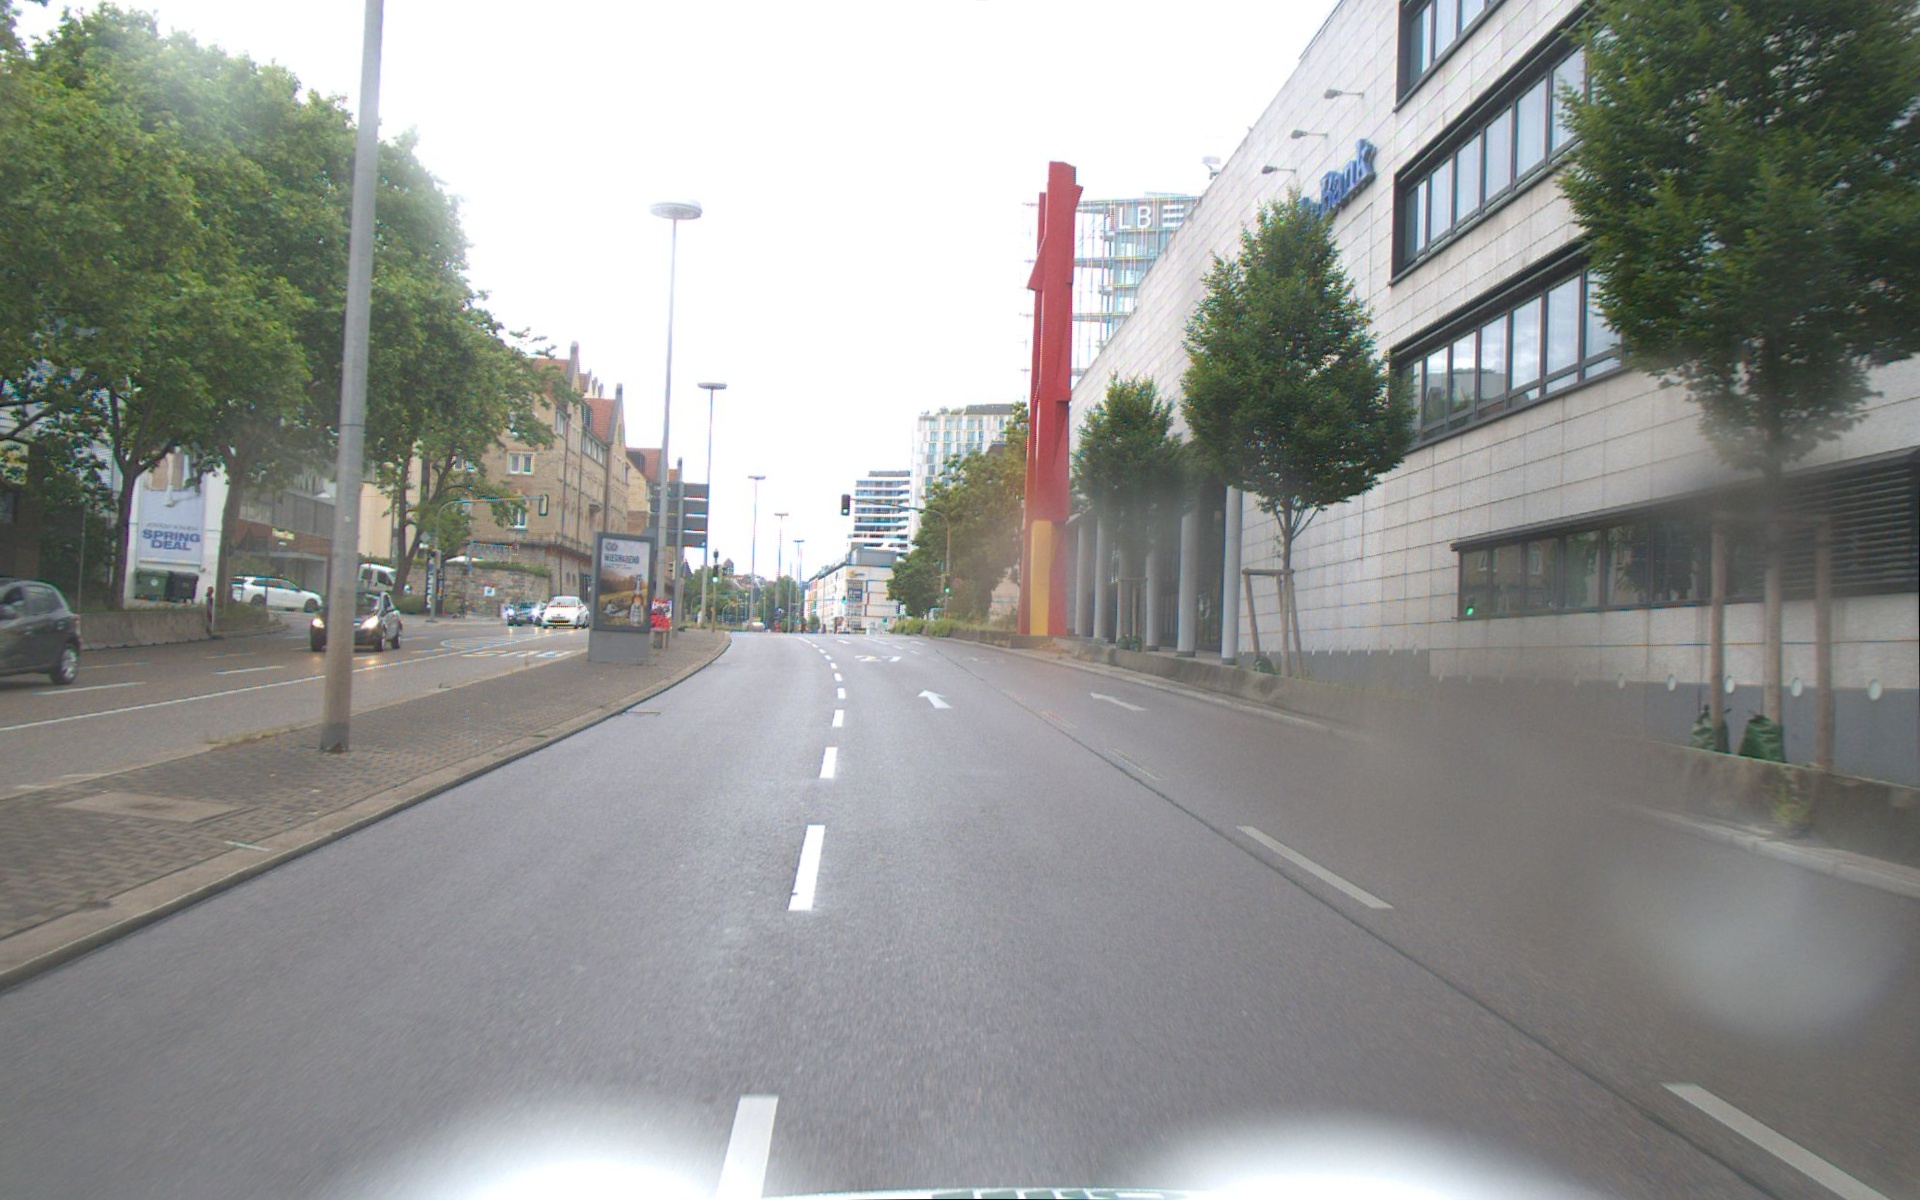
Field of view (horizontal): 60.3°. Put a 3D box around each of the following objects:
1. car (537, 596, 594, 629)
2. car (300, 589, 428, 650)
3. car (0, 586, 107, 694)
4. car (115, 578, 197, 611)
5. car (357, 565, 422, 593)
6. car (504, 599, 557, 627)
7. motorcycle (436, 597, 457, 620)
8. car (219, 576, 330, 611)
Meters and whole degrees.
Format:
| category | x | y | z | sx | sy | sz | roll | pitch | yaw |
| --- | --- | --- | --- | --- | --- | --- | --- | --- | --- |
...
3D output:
| category | x | y | z | sx | sy | sz | roll | pitch | yaw |
| --- | --- | --- | --- | --- | --- | --- | --- | --- | --- |
| car | -18.498 | 0.610 | 77.691 | 1.782 | 1.494 | 3.999 | 0 | -1 | -1 |
| car | -14.699 | 0.498 | 41.012 | 1.782 | 1.428 | 3.999 | 0 | -1 | -1 |
| car | -13.589 | 0.540 | 22.668 | 1.782 | 1.428 | 3.999 | 0 | -1 | -1 |
| car | -36.942 | -0.255 | 76.035 | 1.255 | 1.451 | 3.172 | -1 | -2 | 42 |
| car | -35.717 | -1.301 | 103.620 | 3.559 | 1.730 | 1.823 | 0 | -1 | -7 |
| car | -22.171 | 0.677 | 85.467 | 1.782 | 1.409 | 3.999 | 0 | -1 | -1 |
| motorcycle | -30.230 | 0.512 | 97.387 | 0.766 | 1.279 | 2.990 | 1 | 1 | -10 |
| car | -31.777 | -0.273 | 76.766 | 1.788 | 1.537 | 4.562 | -1 | -1 | 34 |
